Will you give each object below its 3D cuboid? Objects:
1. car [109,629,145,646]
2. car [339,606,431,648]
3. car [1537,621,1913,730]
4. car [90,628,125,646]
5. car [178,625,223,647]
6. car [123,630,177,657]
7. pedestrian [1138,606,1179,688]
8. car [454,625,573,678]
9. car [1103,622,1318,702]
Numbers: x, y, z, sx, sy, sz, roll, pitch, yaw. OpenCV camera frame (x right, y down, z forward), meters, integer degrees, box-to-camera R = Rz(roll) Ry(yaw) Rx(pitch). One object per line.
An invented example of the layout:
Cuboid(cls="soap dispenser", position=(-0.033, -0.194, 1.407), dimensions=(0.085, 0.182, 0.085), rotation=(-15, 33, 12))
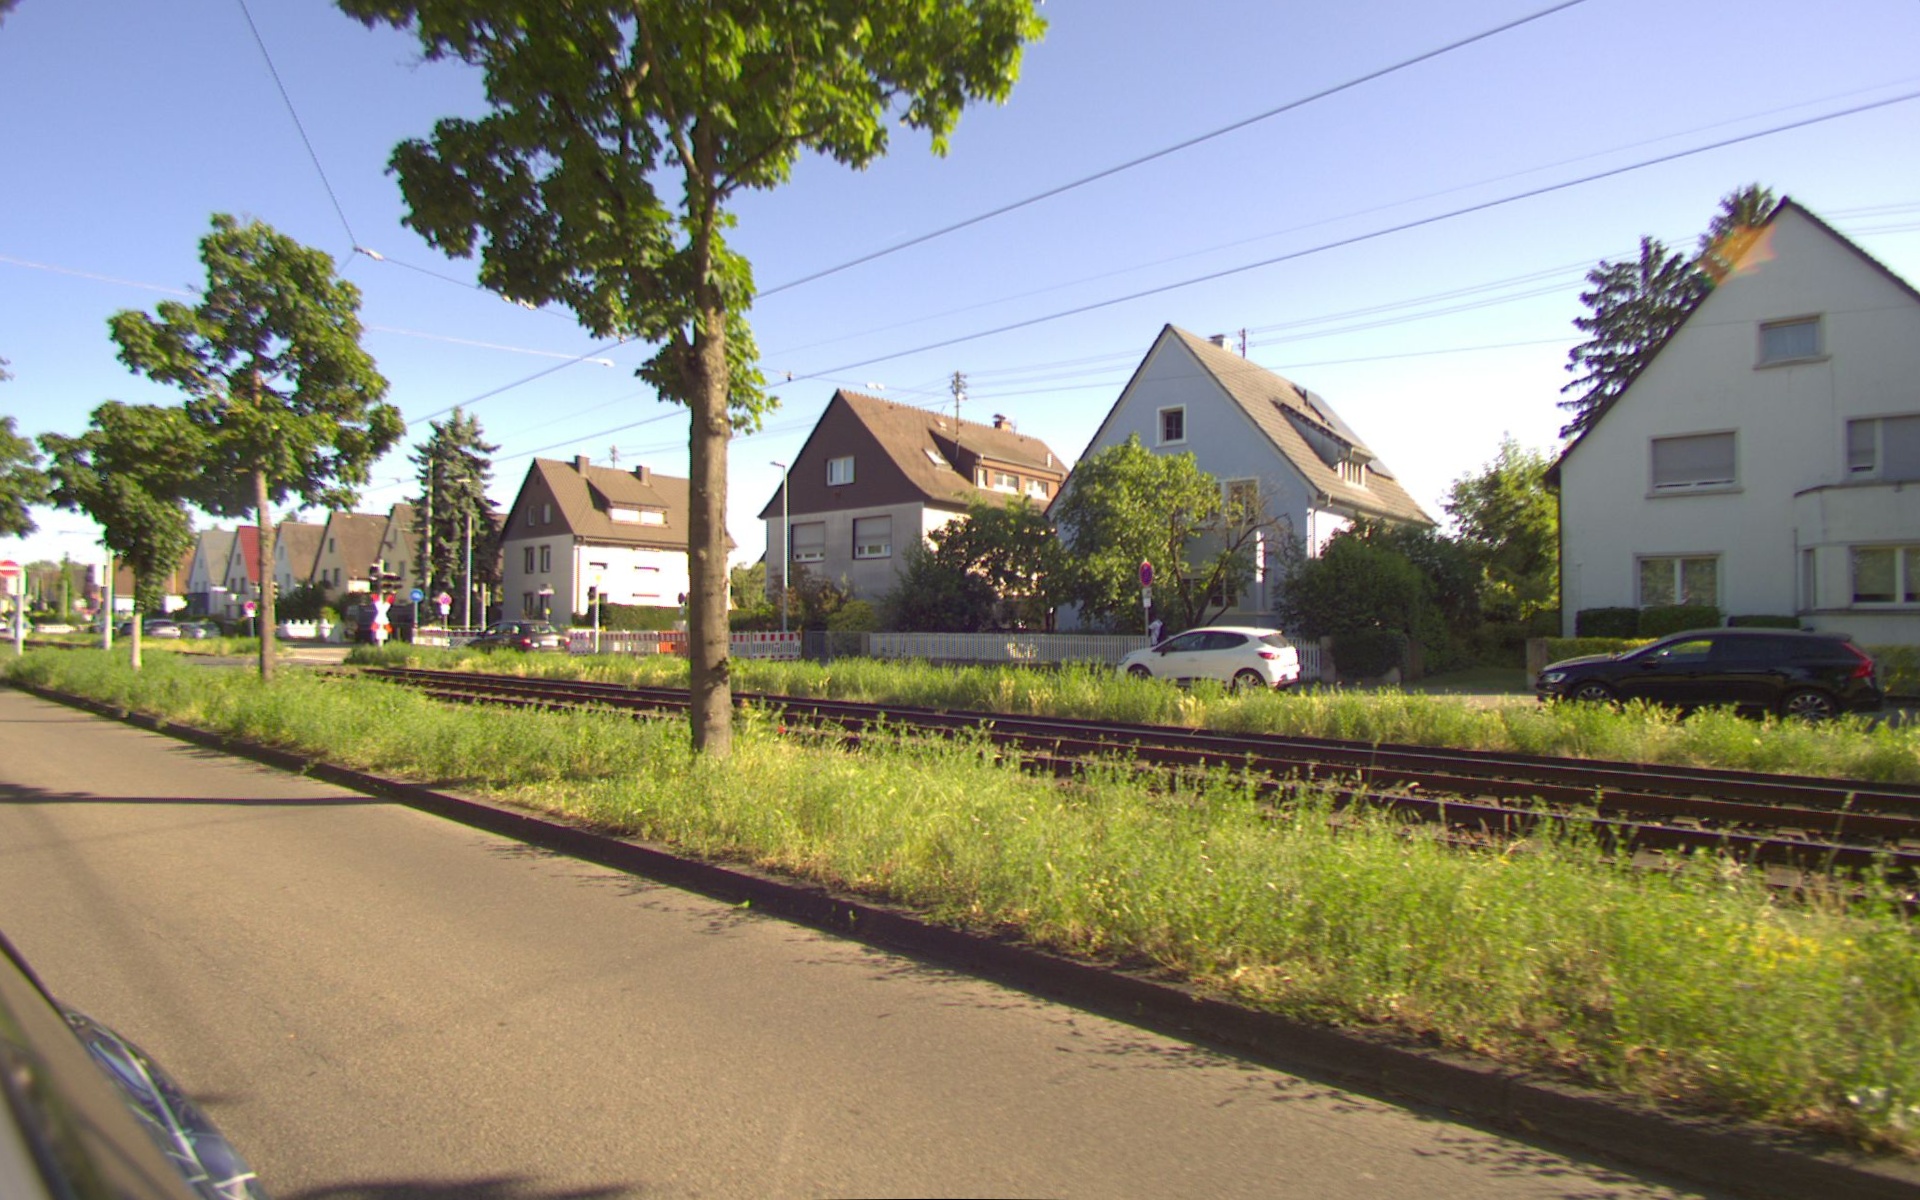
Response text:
Cuboid(cls="car", position=(-78.680, 3.533, 95.540), dimensions=(4.253, 1.506, 1.906), rotation=(-1, -1, 41))
Cuboid(cls="car", position=(-38.443, 1.808, 67.746), dimensions=(2.101, 2.645, 4.977), rotation=(-2, -2, 40))
Cuboid(cls="car", position=(12.030, 1.098, 16.222), dimensions=(4.599, 1.477, 1.711), rotation=(-1, -1, 40))
Cuboid(cls="car", position=(-85.194, 3.663, 101.150), dimensions=(4.388, 1.726, 1.973), rotation=(-1, -1, 41))
Cuboid(cls="car", position=(-57.858, 2.745, 77.126), dimensions=(4.054, 1.565, 1.927), rotation=(-1, -1, 41))
Cuboid(cls="car", position=(-52.856, 2.788, 66.016), dimensions=(4.470, 1.616, 1.973), rotation=(-1, -1, 40))
Cuboid(cls="pedestrian", position=(5.017, 1.173, 25.592), dimensions=(0.772, 2.029, 0.674), rotation=(-1, -1, 40))
Cuboid(cls="car", position=(-14.658, 1.634, 33.090), dimensions=(4.807, 1.564, 1.644), rotation=(-1, -1, 40))
Cuboid(cls="car", position=(5.451, 1.281, 22.329), dimensions=(4.225, 1.553, 1.841), rotation=(-1, -1, 40))
